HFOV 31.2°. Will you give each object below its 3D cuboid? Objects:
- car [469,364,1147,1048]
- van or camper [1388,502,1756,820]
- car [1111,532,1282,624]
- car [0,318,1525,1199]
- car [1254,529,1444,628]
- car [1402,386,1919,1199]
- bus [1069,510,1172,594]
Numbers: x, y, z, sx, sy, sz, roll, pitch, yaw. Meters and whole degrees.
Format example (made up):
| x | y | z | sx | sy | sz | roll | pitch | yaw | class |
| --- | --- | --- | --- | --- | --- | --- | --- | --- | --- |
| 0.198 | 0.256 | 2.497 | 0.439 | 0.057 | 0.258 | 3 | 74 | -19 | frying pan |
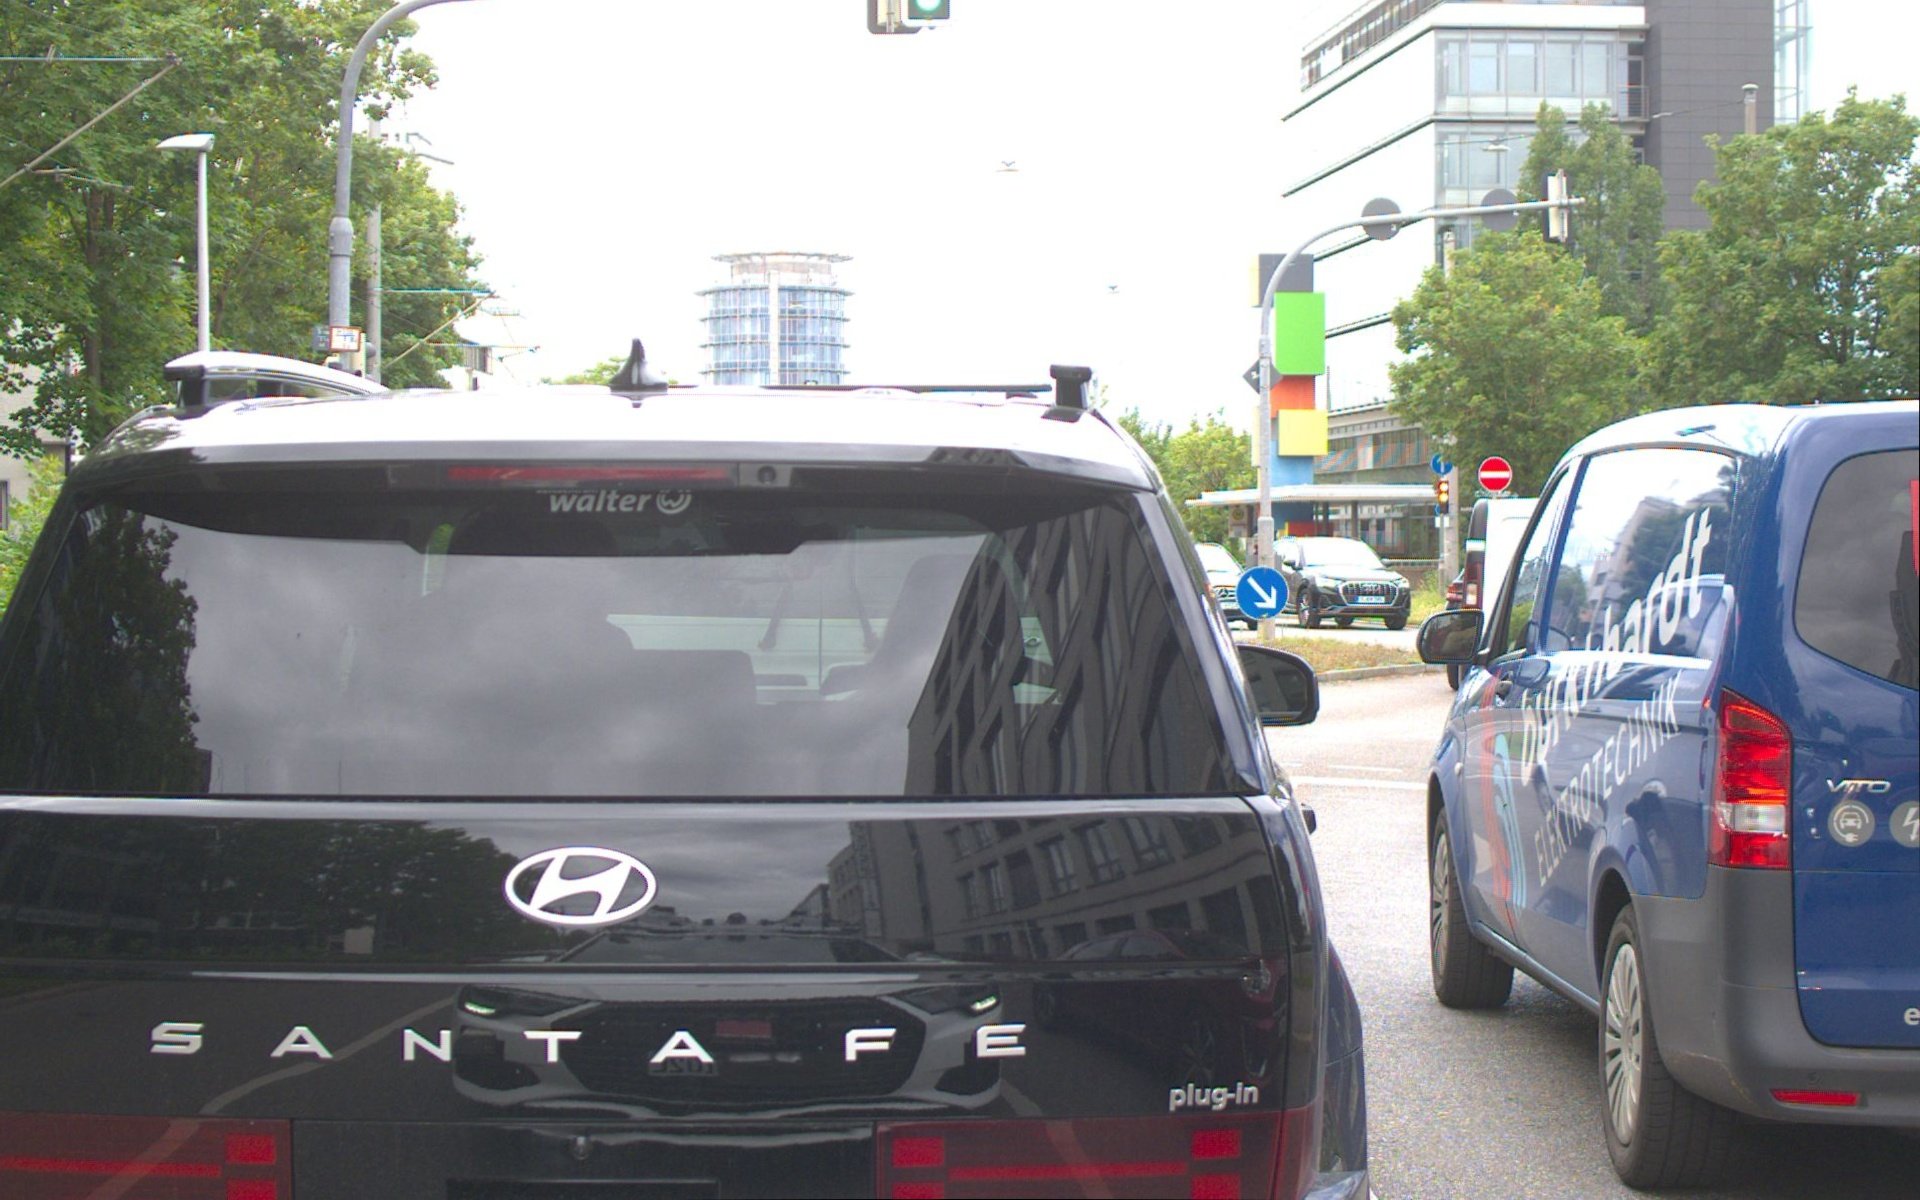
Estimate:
| x | y | z | sx | sy | sz | roll | pitch | yaw | class |
| --- | --- | --- | --- | --- | --- | --- | --- | --- | --- |
| -0.331 | 0.268 | 12.462 | 1.902 | 1.962 | 4.635 | 2 | 1 | 4 | car |
| 4.051 | 0.314 | 23.446 | 1.994 | 1.911 | 4.408 | 1 | 2 | 4 | van or camper |
| 3.990 | -0.404 | 58.727 | 1.782 | 1.421 | 4.397 | 1 | 2 | -11 | car |
| -0.427 | 0.550 | 5.710 | 1.902 | 1.725 | 4.446 | 2 | 1 | -1 | car |
| 6.746 | -0.401 | 60.118 | 1.887 | 1.559 | 4.397 | 1 | 2 | -13 | car |
| 2.449 | 0.481 | 9.192 | 1.902 | 1.852 | 4.709 | 2 | 1 | 0 | car |
| 6.158 | -1.821 | 133.373 | 2.966 | 3.106 | 9.245 | -1 | 0 | -4 | bus |
